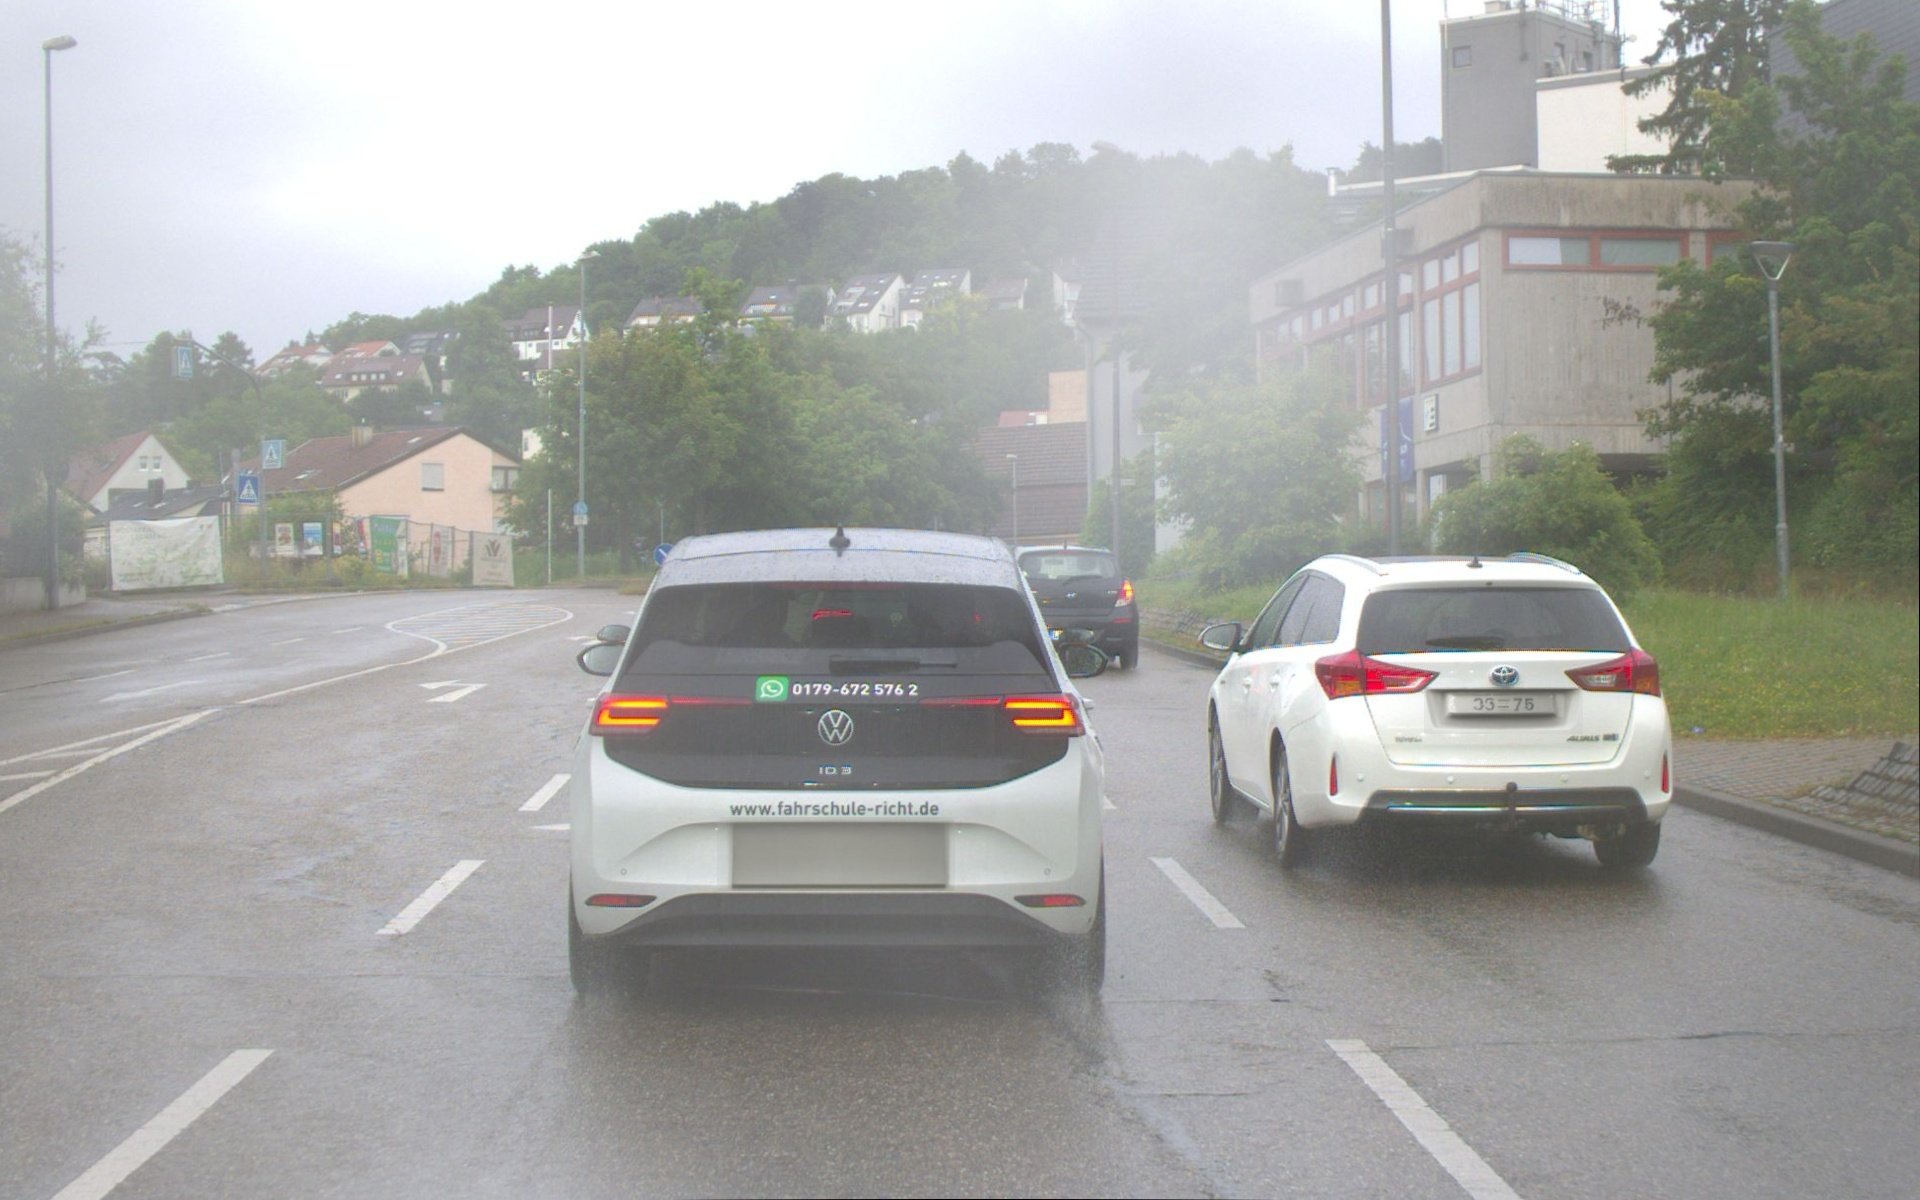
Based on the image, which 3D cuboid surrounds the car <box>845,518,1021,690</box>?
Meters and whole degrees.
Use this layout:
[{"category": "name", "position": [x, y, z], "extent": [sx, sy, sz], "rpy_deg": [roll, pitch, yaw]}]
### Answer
[{"category": "car", "position": [-0.284, -0.002, 32.511], "extent": [1.567, 1.525, 4.000], "rpy_deg": [0, 1, -1]}]

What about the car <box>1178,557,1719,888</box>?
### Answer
[{"category": "car", "position": [2.230, 0.526, 16.853], "extent": [1.848, 1.405, 4.302], "rpy_deg": [0, 0, -3]}]

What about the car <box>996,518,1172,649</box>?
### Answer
[{"category": "car", "position": [1.483, -0.188, 41.898], "extent": [1.993, 1.448, 3.770], "rpy_deg": [-2, 0, 1]}]

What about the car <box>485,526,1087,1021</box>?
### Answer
[{"category": "car", "position": [-0.489, 0.528, 12.565], "extent": [1.828, 1.495, 4.168], "rpy_deg": [0, 0, 1]}]

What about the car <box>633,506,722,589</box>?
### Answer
[{"category": "car", "position": [-7.243, -1.329, 88.428], "extent": [1.993, 2.007, 4.000], "rpy_deg": [1, 0, -1]}]

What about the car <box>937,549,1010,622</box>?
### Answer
[{"category": "car", "position": [0.401, -0.412, 98.848], "extent": [1.993, 2.007, 4.000], "rpy_deg": [1, 0, 1]}]
